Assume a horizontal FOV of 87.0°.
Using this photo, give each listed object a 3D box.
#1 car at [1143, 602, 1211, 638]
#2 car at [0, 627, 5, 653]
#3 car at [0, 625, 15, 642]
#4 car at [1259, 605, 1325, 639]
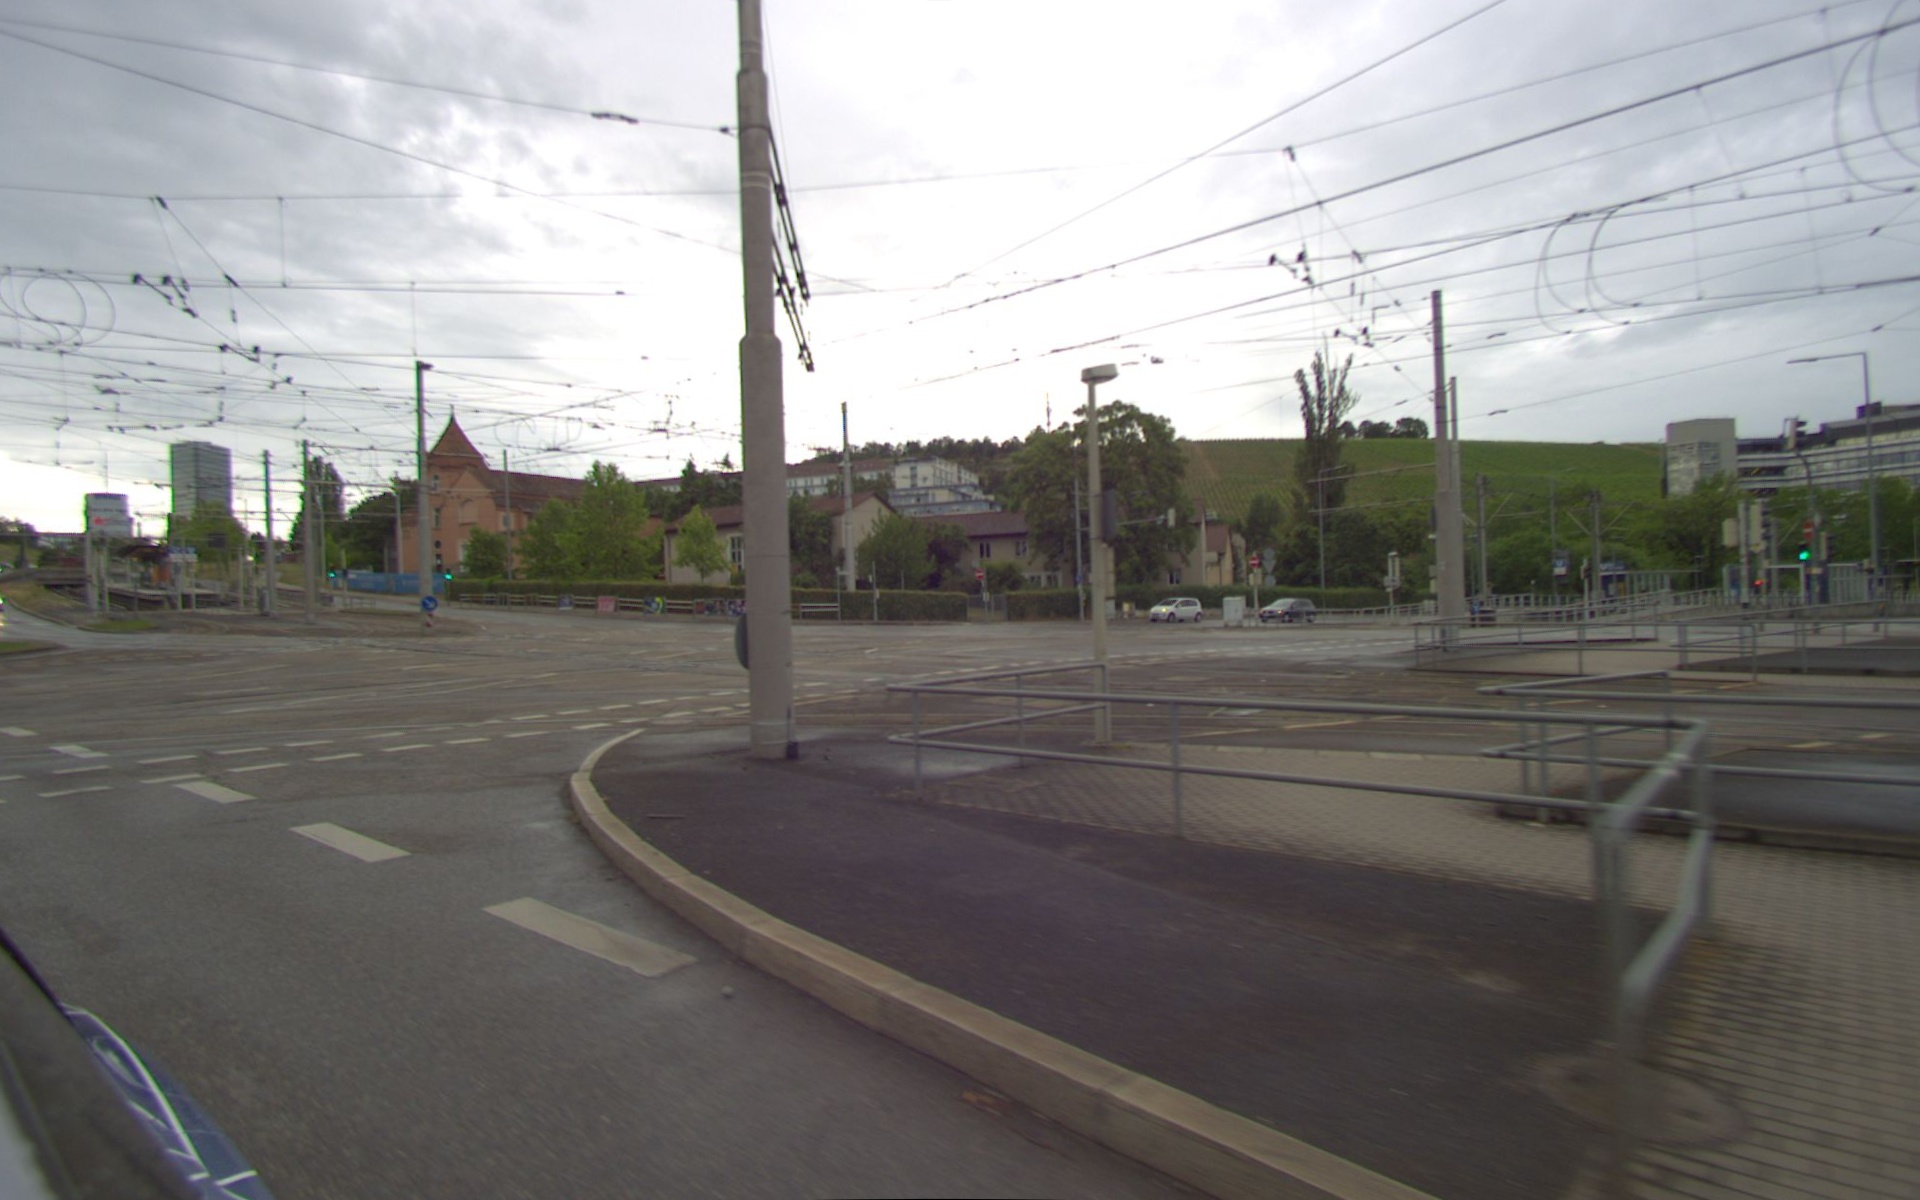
[{"bbox_3d":[13.364,1.212,62.223,3.935,2.028,2.004,-1,2,-37],"label":"car"},{"bbox_3d":[-65.436,2.677,68.009,1.713,1.599,4.005,-1,2,-42],"label":"car"},{"bbox_3d":[-91.105,3.208,95.881,3.996,1.523,1.779,-4,-1,39],"label":"car"},{"bbox_3d":[20.478,1.325,62.440,3.935,2.029,2.004,1,0,-38],"label":"car"}]
